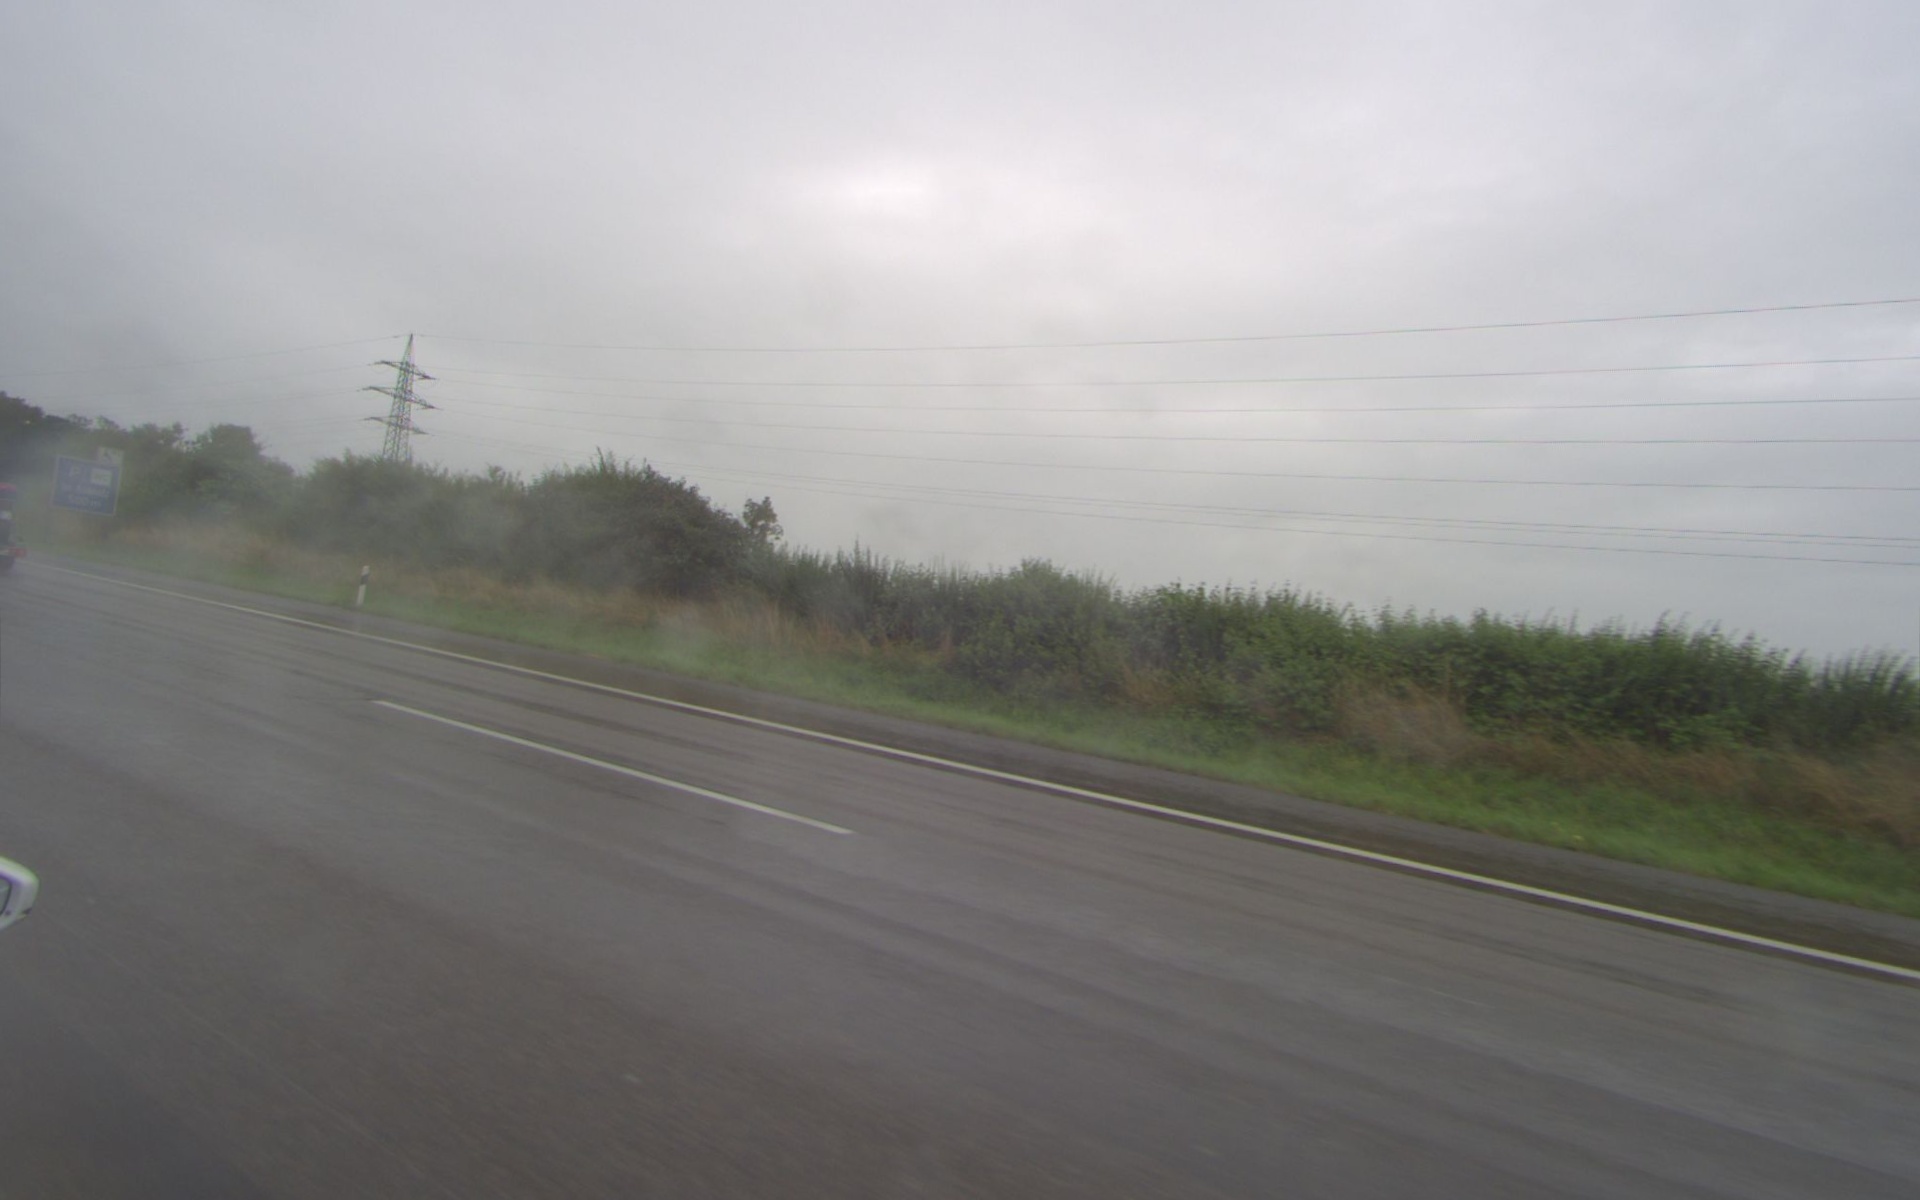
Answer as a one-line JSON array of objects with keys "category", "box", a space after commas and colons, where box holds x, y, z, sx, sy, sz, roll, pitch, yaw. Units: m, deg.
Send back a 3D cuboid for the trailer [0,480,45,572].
[{"category": "trailer", "box": [-21.171, -1.700, 21.113, 3.136, 1.806, 1.982, 6, -2, 31]}]
